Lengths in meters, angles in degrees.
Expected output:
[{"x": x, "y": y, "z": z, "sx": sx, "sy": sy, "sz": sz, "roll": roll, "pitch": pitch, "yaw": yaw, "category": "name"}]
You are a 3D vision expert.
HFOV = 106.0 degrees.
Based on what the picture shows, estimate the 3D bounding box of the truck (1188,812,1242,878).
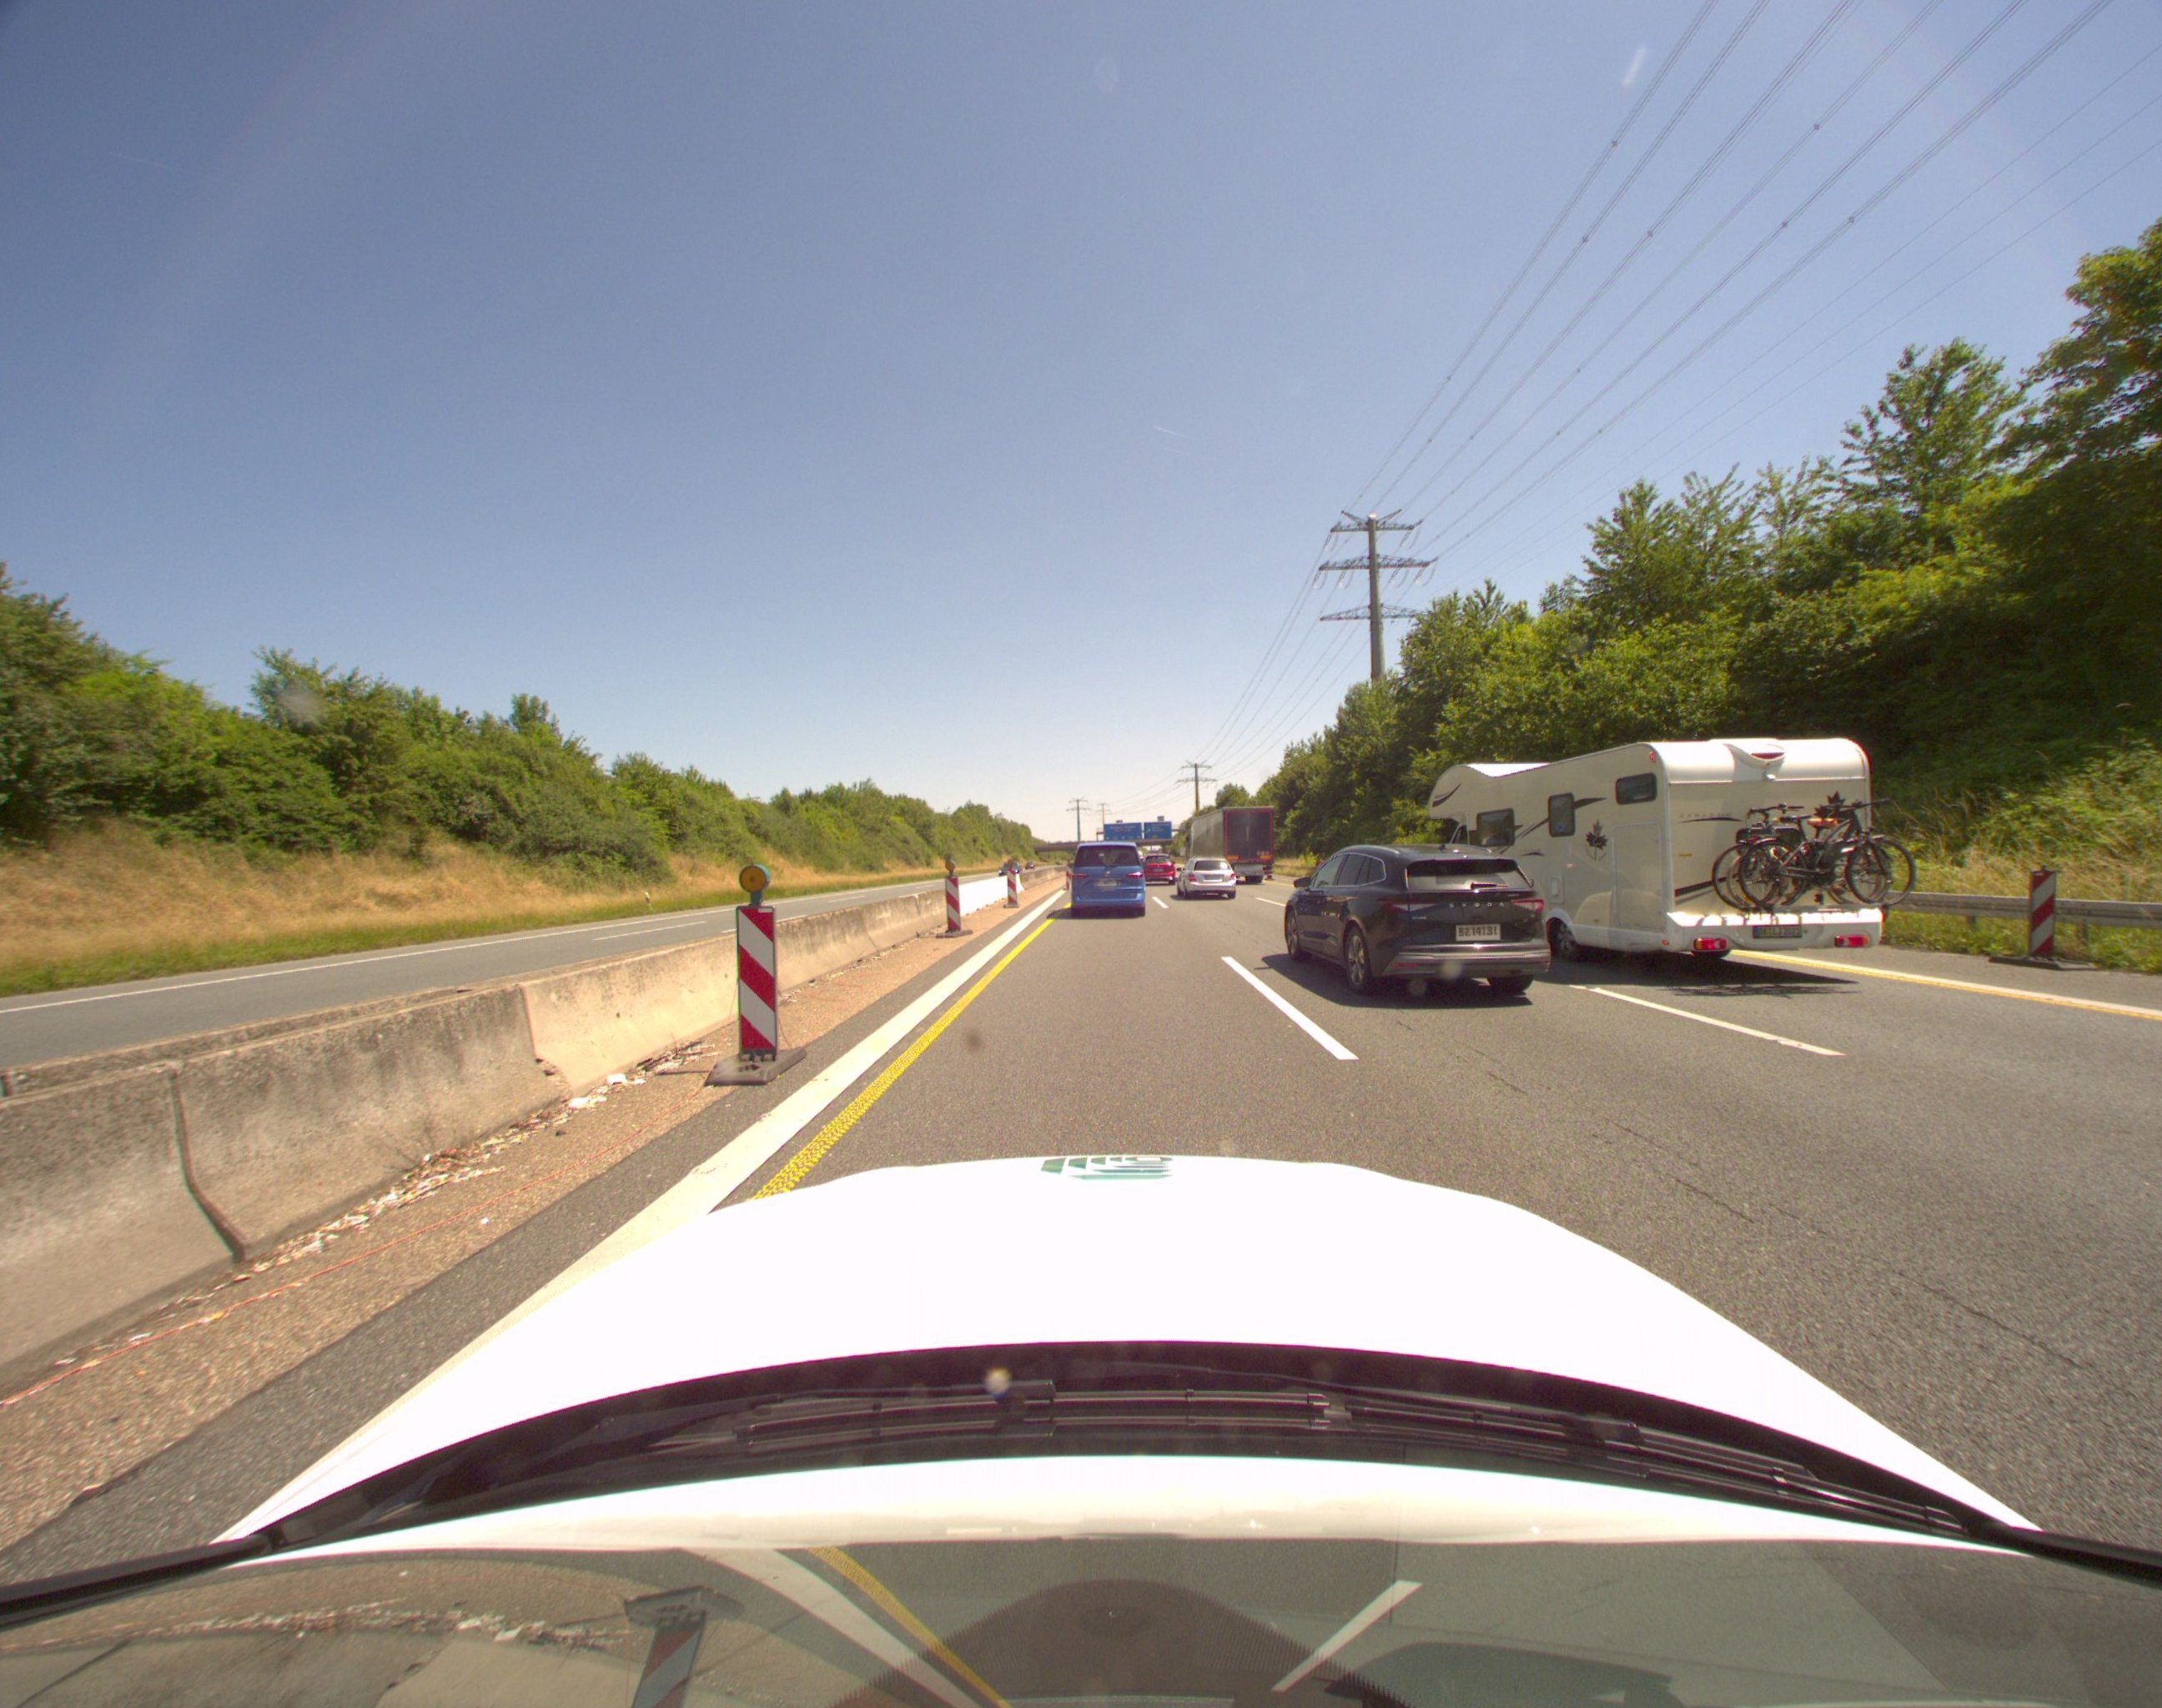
[{"x": 8.670, "y": -0.526, "z": 53.401, "sx": 2.723, "sy": 4.047, "sz": 5.795, "roll": 0, "pitch": -1, "yaw": 2, "category": "truck"}]

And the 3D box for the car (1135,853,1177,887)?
[{"x": 3.936, "y": 0.817, "z": 43.182, "sx": 1.868, "sy": 1.671, "sz": 4.360, "roll": 0, "pitch": 0, "yaw": 1, "category": "car"}]

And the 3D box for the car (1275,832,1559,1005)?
[{"x": 3.744, "y": 0.632, "z": 10.009, "sx": 1.695, "sy": 1.655, "sz": 4.429, "roll": 0, "pitch": 0, "yaw": 1, "category": "car"}]

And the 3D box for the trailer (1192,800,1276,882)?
[{"x": 8.461, "y": -0.609, "z": 46.916, "sx": 2.773, "sy": 4.047, "sz": 13.116, "roll": 0, "pitch": 0, "yaw": 2, "category": "trailer"}]

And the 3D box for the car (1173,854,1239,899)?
[{"x": 4.421, "y": 0.768, "z": 29.296, "sx": 1.764, "sy": 1.517, "sz": 4.360, "roll": 0, "pitch": 0, "yaw": 1, "category": "car"}]

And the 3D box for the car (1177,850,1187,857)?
[{"x": 23.030, "y": -0.098, "z": 185.425, "sx": 1.868, "sy": 1.671, "sz": 4.360, "roll": 0, "pitch": 0, "yaw": 1, "category": "car"}]

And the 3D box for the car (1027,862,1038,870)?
[{"x": -9.130, "y": 2.277, "z": 154.231, "sx": 1.703, "sy": 1.464, "sz": 3.849, "roll": -3, "pitch": -1, "yaw": 1, "category": "car"}]

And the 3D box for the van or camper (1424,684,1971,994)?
[{"x": 7.655, "y": -0.122, "z": 11.822, "sx": 2.360, "sy": 3.043, "sz": 7.636, "roll": 0, "pitch": 0, "yaw": 2, "category": "van or camper"}]

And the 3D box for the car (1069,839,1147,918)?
[{"x": 0.683, "y": 0.603, "z": 21.836, "sx": 1.868, "sy": 1.912, "sz": 4.360, "roll": 0, "pitch": 0, "yaw": 1, "category": "car"}]

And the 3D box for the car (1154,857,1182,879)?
[{"x": 6.439, "y": 1.016, "z": 60.612, "sx": 1.791, "sy": 1.594, "sz": 4.228, "roll": 0, "pitch": 0, "yaw": 1, "category": "car"}]

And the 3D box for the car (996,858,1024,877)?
[{"x": -6.243, "y": 1.142, "z": 71.744, "sx": 1.855, "sy": 1.490, "sz": 4.495, "roll": -3, "pitch": 0, "yaw": 2, "category": "car"}]

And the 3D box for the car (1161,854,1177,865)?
[{"x": 11.043, "y": 0.699, "z": 102.015, "sx": 1.694, "sy": 1.448, "sz": 3.789, "roll": 0, "pitch": 0, "yaw": 1, "category": "car"}]
